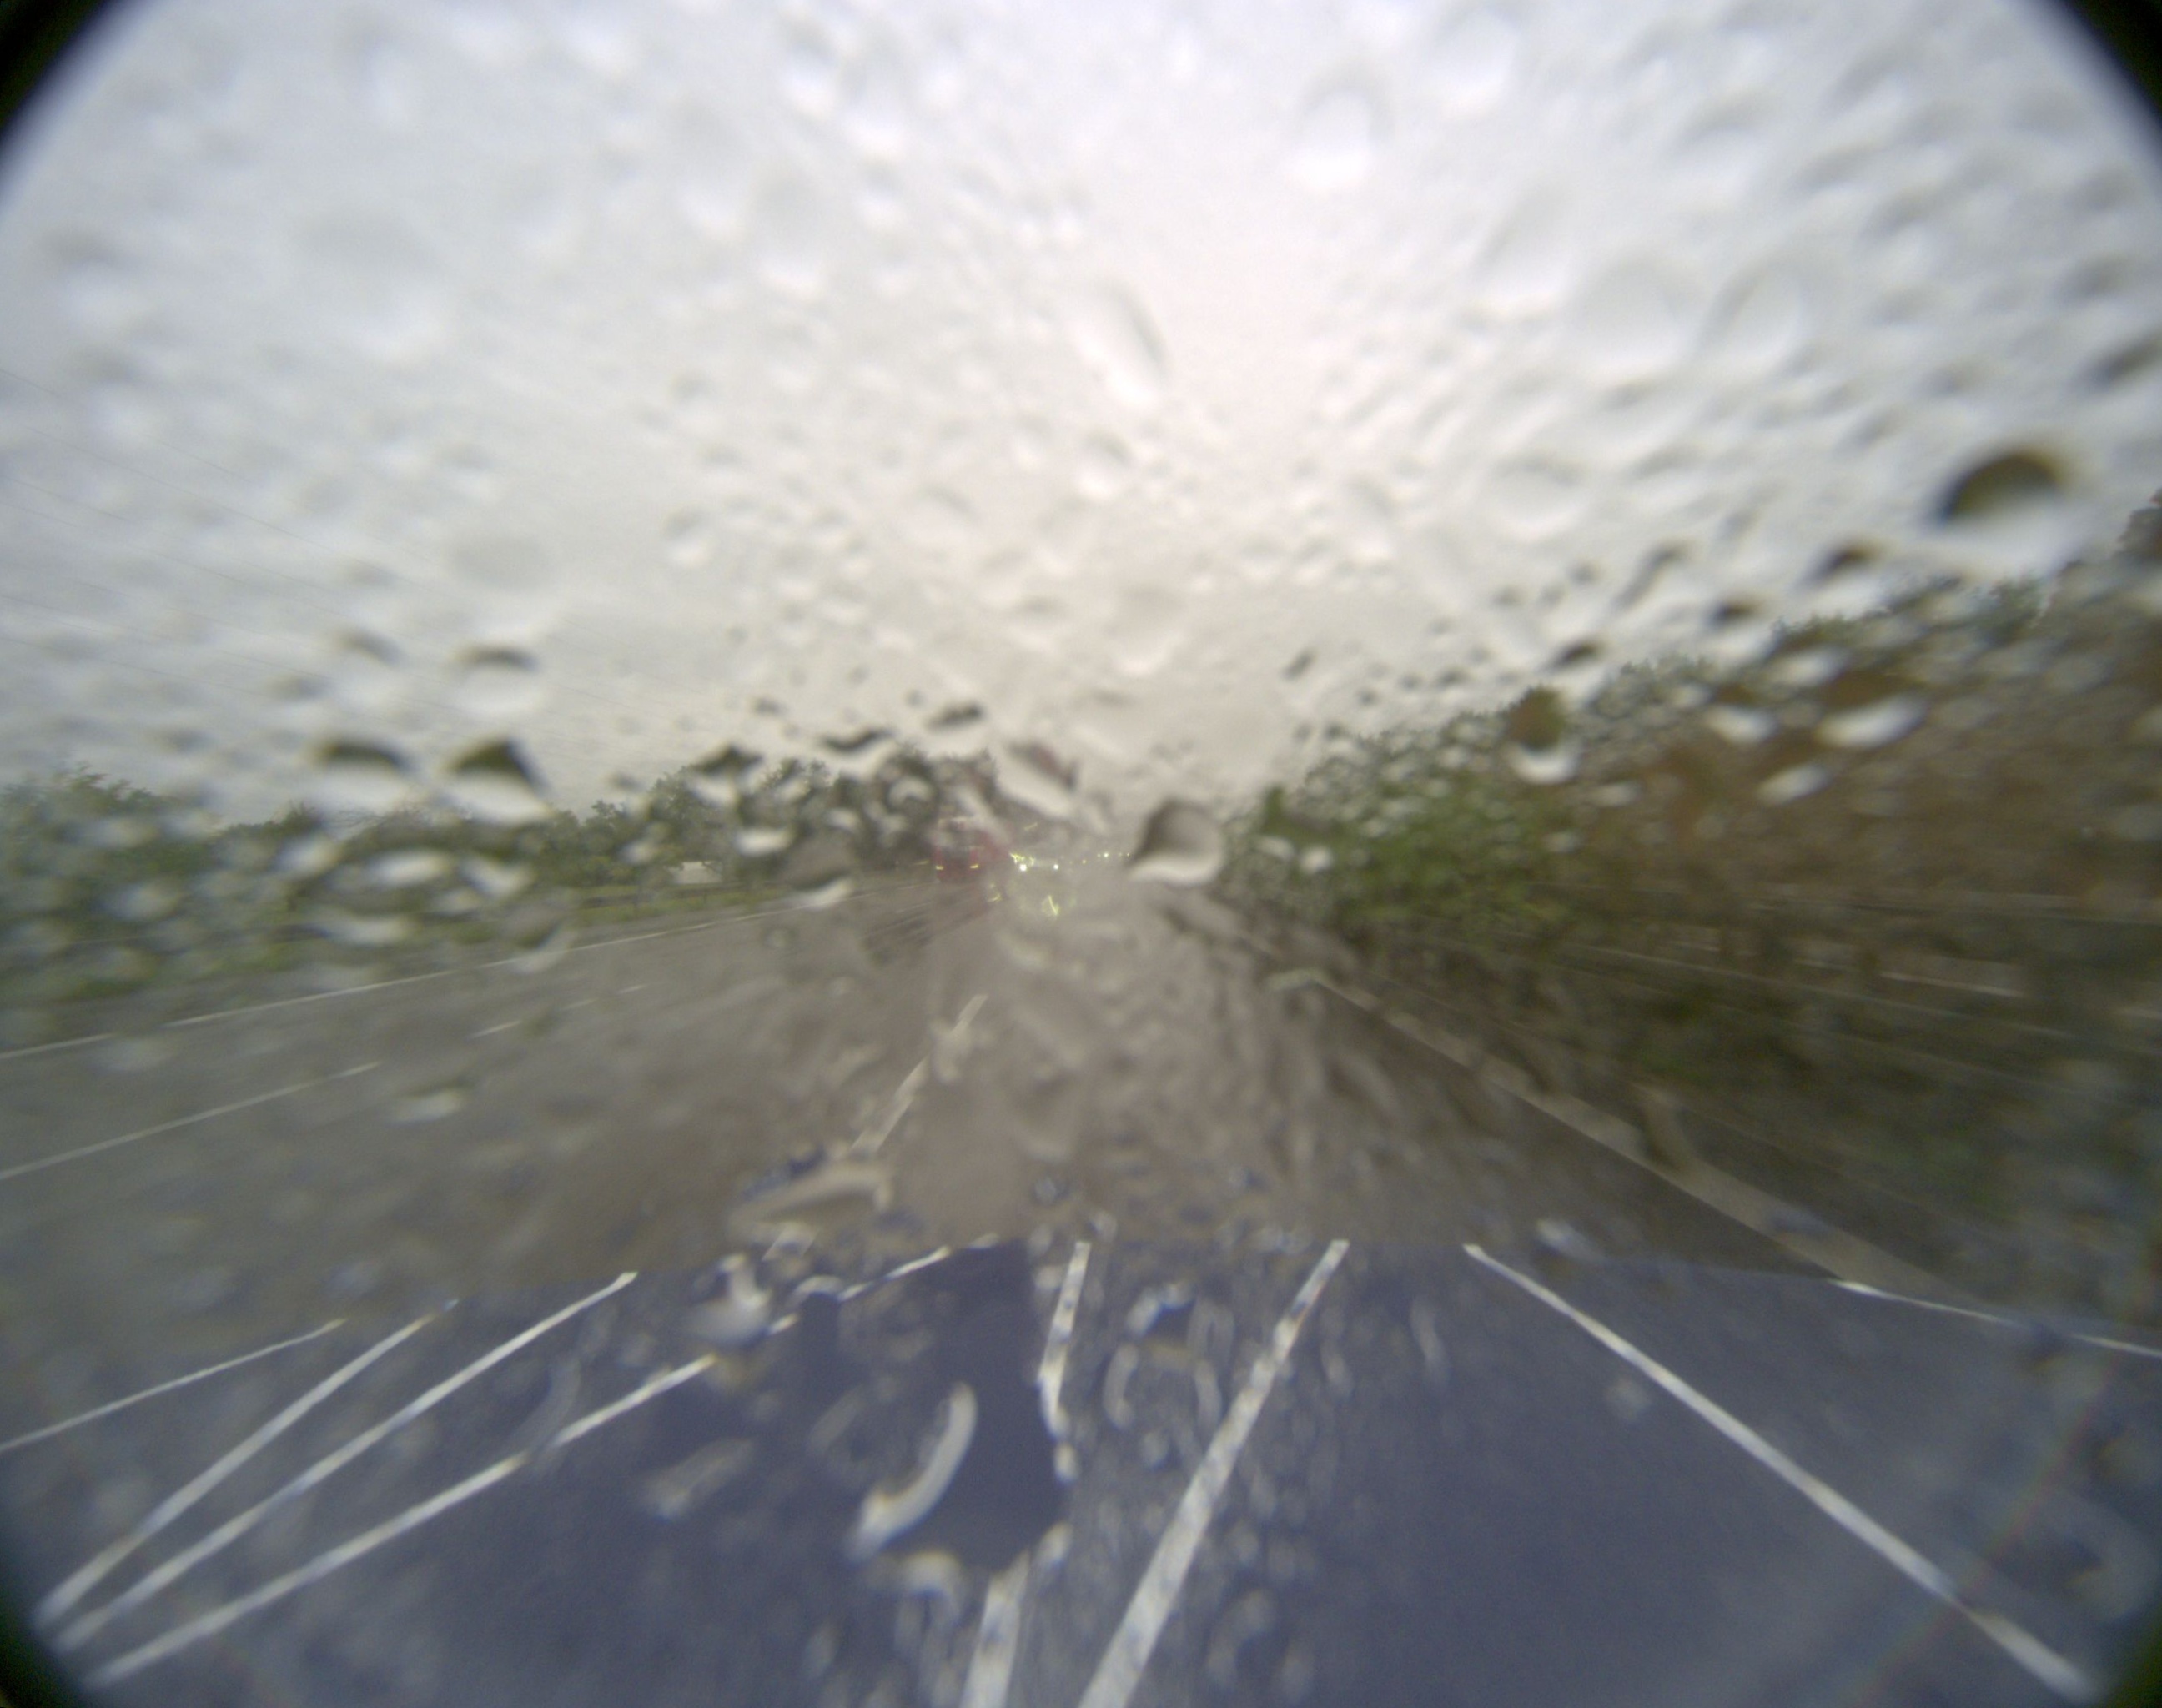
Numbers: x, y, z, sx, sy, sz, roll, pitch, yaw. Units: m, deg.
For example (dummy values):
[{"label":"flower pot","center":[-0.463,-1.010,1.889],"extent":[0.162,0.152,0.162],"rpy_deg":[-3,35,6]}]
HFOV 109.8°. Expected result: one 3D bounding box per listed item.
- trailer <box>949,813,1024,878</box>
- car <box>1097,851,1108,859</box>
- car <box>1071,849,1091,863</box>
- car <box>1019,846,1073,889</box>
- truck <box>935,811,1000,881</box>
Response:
[{"label":"trailer","center":[-6.298,-0.621,53.219],"extent":[2.626,3.932,13.631],"rpy_deg":[-2,1,3]},{"label":"car","center":[4.284,0.181,152.379],"extent":[1.768,1.448,3.960],"rpy_deg":[-4,0,5]},{"label":"car","center":[0.019,0.181,86.347],"extent":[1.769,1.448,3.960],"rpy_deg":[-4,0,5]},{"label":"car","center":[-1.669,0.599,38.018],"extent":[1.891,1.873,5.010],"rpy_deg":[-4,0,5]},{"label":"truck","center":[-6.762,-0.487,45.982],"extent":[2.626,3.933,5.433],"rpy_deg":[-2,1,4]}]
